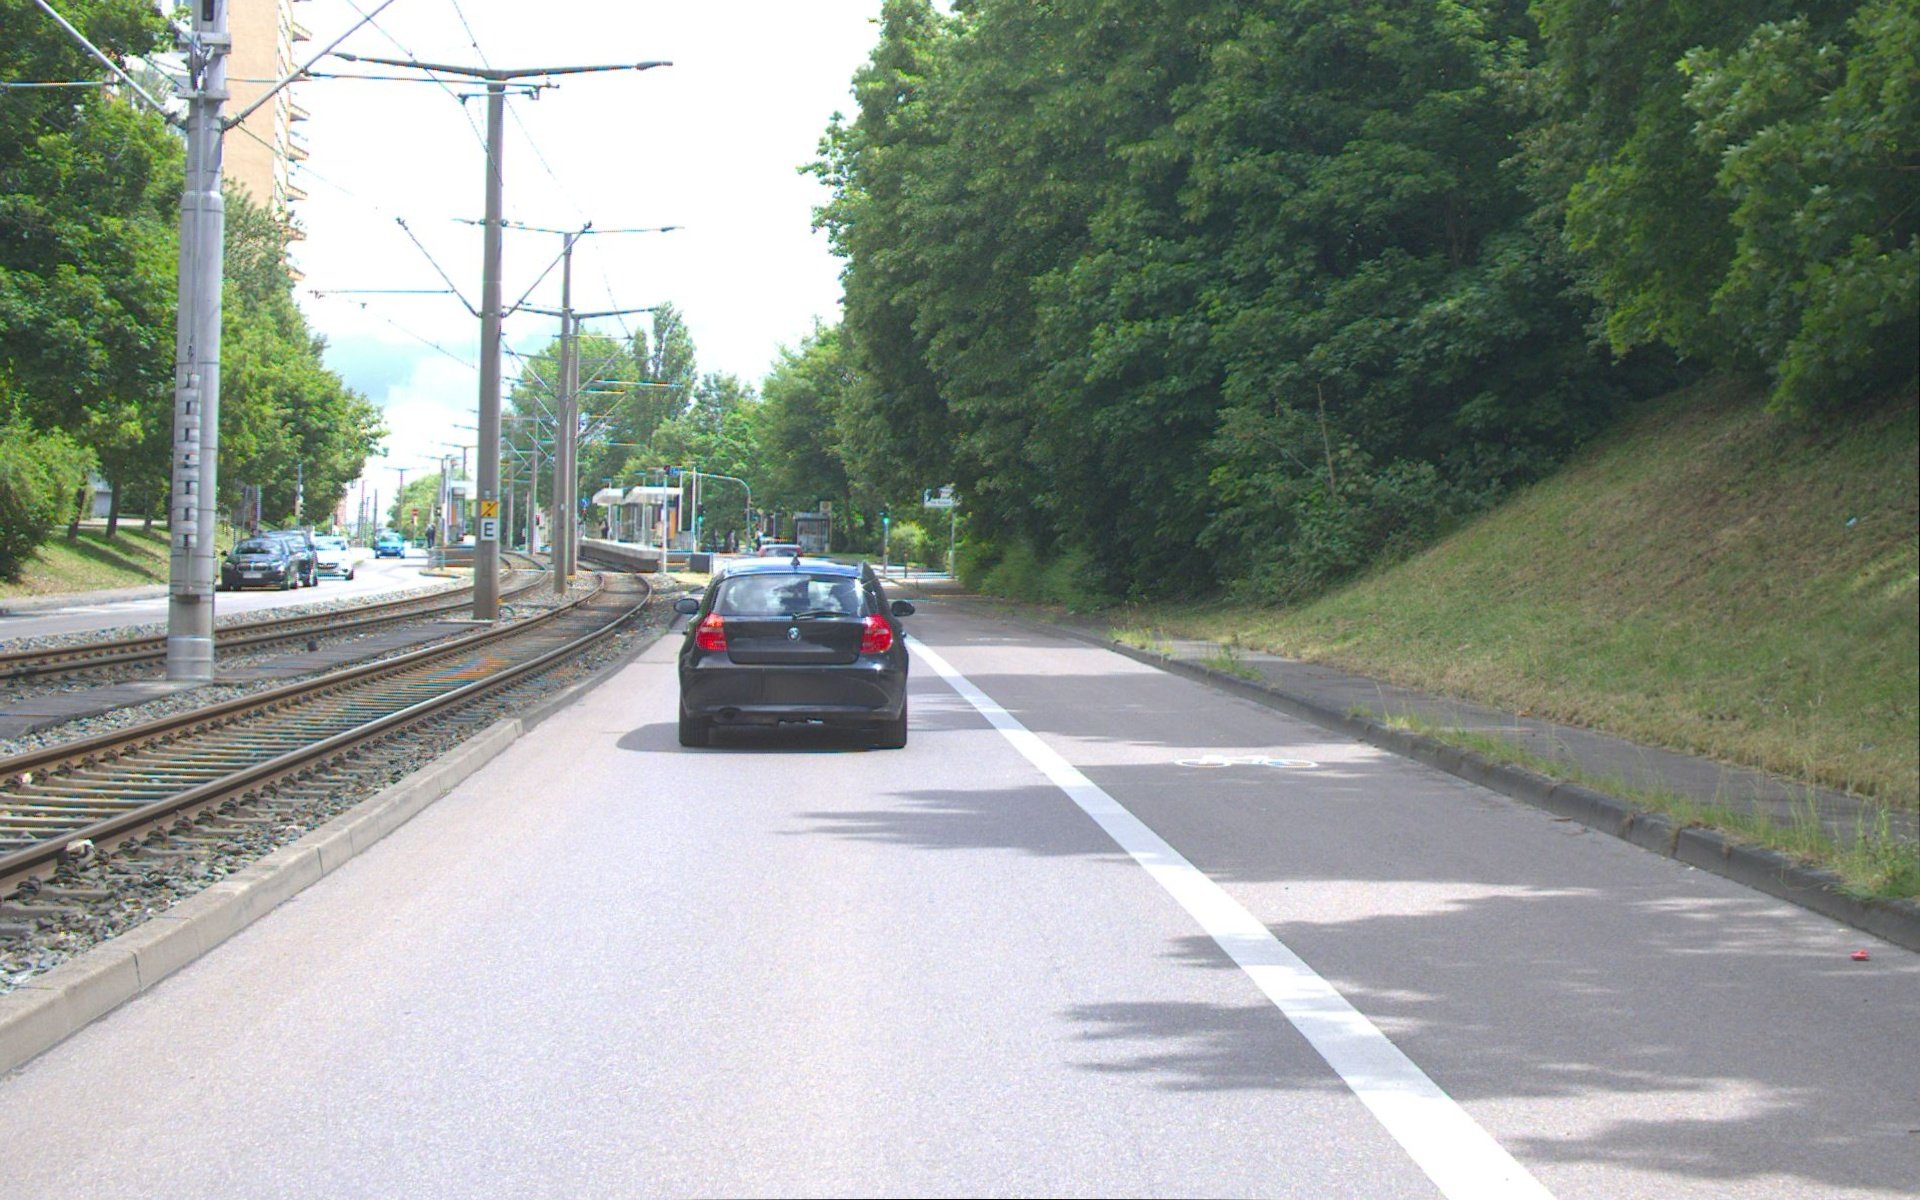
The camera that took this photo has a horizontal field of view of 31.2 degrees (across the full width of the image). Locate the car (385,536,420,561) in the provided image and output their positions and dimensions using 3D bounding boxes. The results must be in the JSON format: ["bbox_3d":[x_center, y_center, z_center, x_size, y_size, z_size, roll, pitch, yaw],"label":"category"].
[{"bbox_3d":[-32.453,-3.011,200.047,1.715,1.437,3.944,1,1,-14],"label":"car"}]

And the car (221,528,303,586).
[{"bbox_3d":[-18.943,-1.177,93.454,1.774,1.493,3.998,1,1,-6],"label":"car"}]

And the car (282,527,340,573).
[{"bbox_3d":[-22.065,-1.715,117.035,1.781,1.527,4.246,0,1,-9],"label":"car"}]

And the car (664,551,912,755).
[{"bbox_3d":[-1.410,0.355,26.879,1.781,1.454,3.922,0,1,-5],"label":"car"}]

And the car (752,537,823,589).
[{"bbox_3d":[-5.057,-1.096,100.493,1.781,1.454,3.922,1,1,-7],"label":"car"}]

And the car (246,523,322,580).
[{"bbox_3d":[-19.699,-1.404,100.282,1.774,1.624,4.383,0,0,-6],"label":"car"}]
